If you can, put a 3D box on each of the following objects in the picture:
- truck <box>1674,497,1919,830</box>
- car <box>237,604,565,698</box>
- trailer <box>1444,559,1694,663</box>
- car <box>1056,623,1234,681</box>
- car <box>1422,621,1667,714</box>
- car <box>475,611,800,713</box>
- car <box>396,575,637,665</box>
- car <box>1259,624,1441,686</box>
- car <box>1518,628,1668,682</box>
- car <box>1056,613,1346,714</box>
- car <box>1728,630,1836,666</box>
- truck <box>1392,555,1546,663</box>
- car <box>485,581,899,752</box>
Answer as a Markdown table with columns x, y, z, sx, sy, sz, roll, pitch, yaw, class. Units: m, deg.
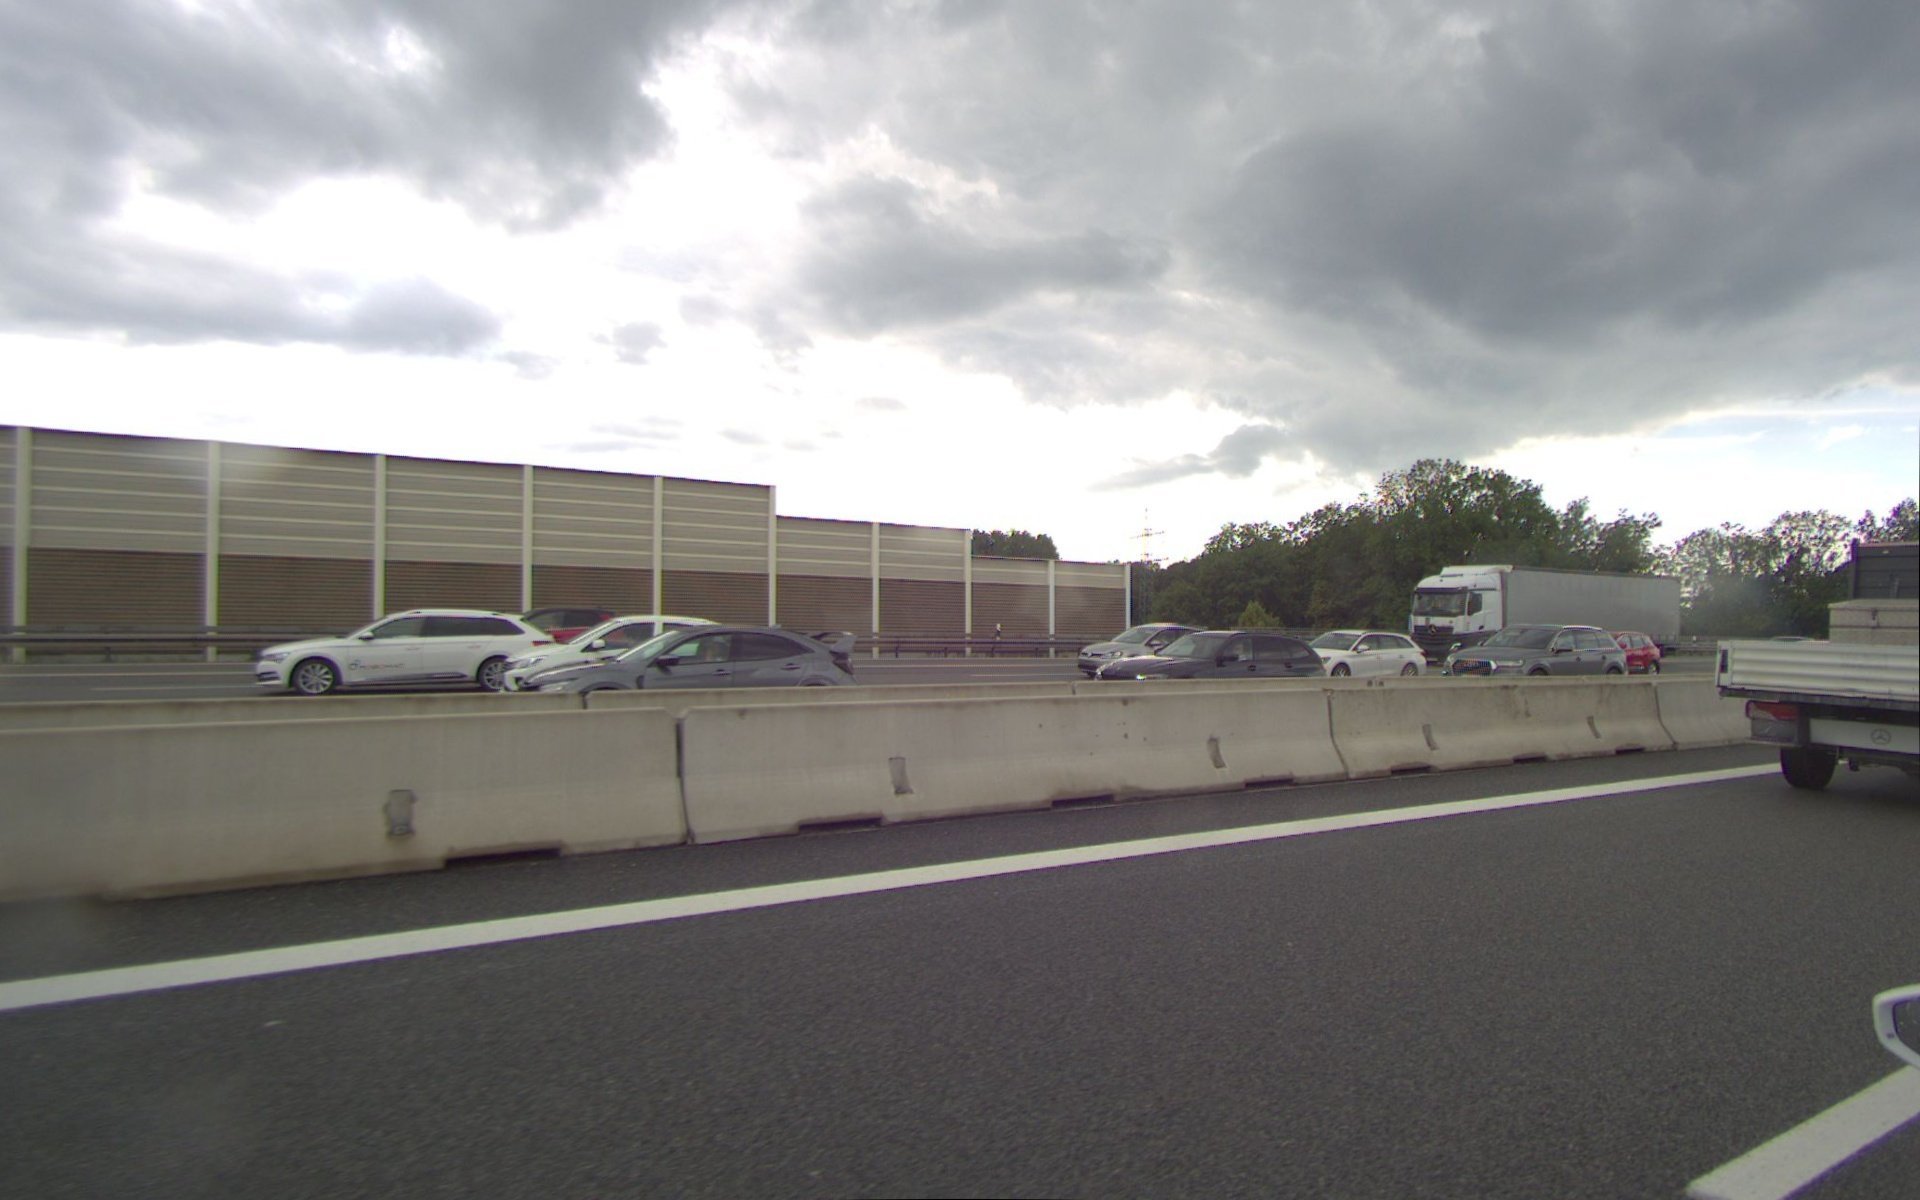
| x | y | z | sx | sy | sz | roll | pitch | yaw | class |
| --- | --- | --- | --- | --- | --- | --- | --- | --- | --- |
| 9.897 | 0.530 | 9.726 | 7.068 | 2.472 | 2.295 | 1 | 0 | -32 | truck |
| -9.995 | 0.896 | 18.330 | 4.937 | 1.511 | 2.051 | 2 | -1 | -30 | car |
| 27.263 | 0.580 | 44.518 | 14.280 | 4.085 | 2.918 | 1 | 0 | -30 | trailer |
| 5.038 | 1.394 | 27.237 | 4.469 | 1.434 | 2.051 | 2 | -1 | -29 | car |
| 13.606 | 1.504 | 23.256 | 6.252 | 1.905 | 2.051 | 2 | -1 | -30 | car |
| -5.406 | 0.997 | 17.015 | 4.937 | 1.511 | 2.051 | 2 | -1 | -30 | car |
| -10.277 | 0.494 | 23.409 | 4.937 | 1.905 | 2.051 | 2 | -1 | -30 | car |
| 10.136 | 1.401 | 26.060 | 4.469 | 1.434 | 2.051 | 2 | -1 | -29 | car |
| 20.023 | 1.721 | 31.755 | 4.663 | 1.555 | 2.051 | 2 | -1 | -30 | car |
| 4.310 | 1.068 | 17.769 | 4.937 | 1.555 | 2.051 | 2 | -1 | -30 | car |
| 38.095 | 2.232 | 46.529 | 5.404 | 1.555 | 2.051 | 2 | -1 | -30 | car |
| 20.655 | 0.423 | 40.723 | 5.657 | 4.088 | 2.959 | 1 | -1 | -30 | truck |
| -3.483 | 0.819 | 13.301 | 4.937 | 1.905 | 2.051 | 2 | -1 | -30 | car |
